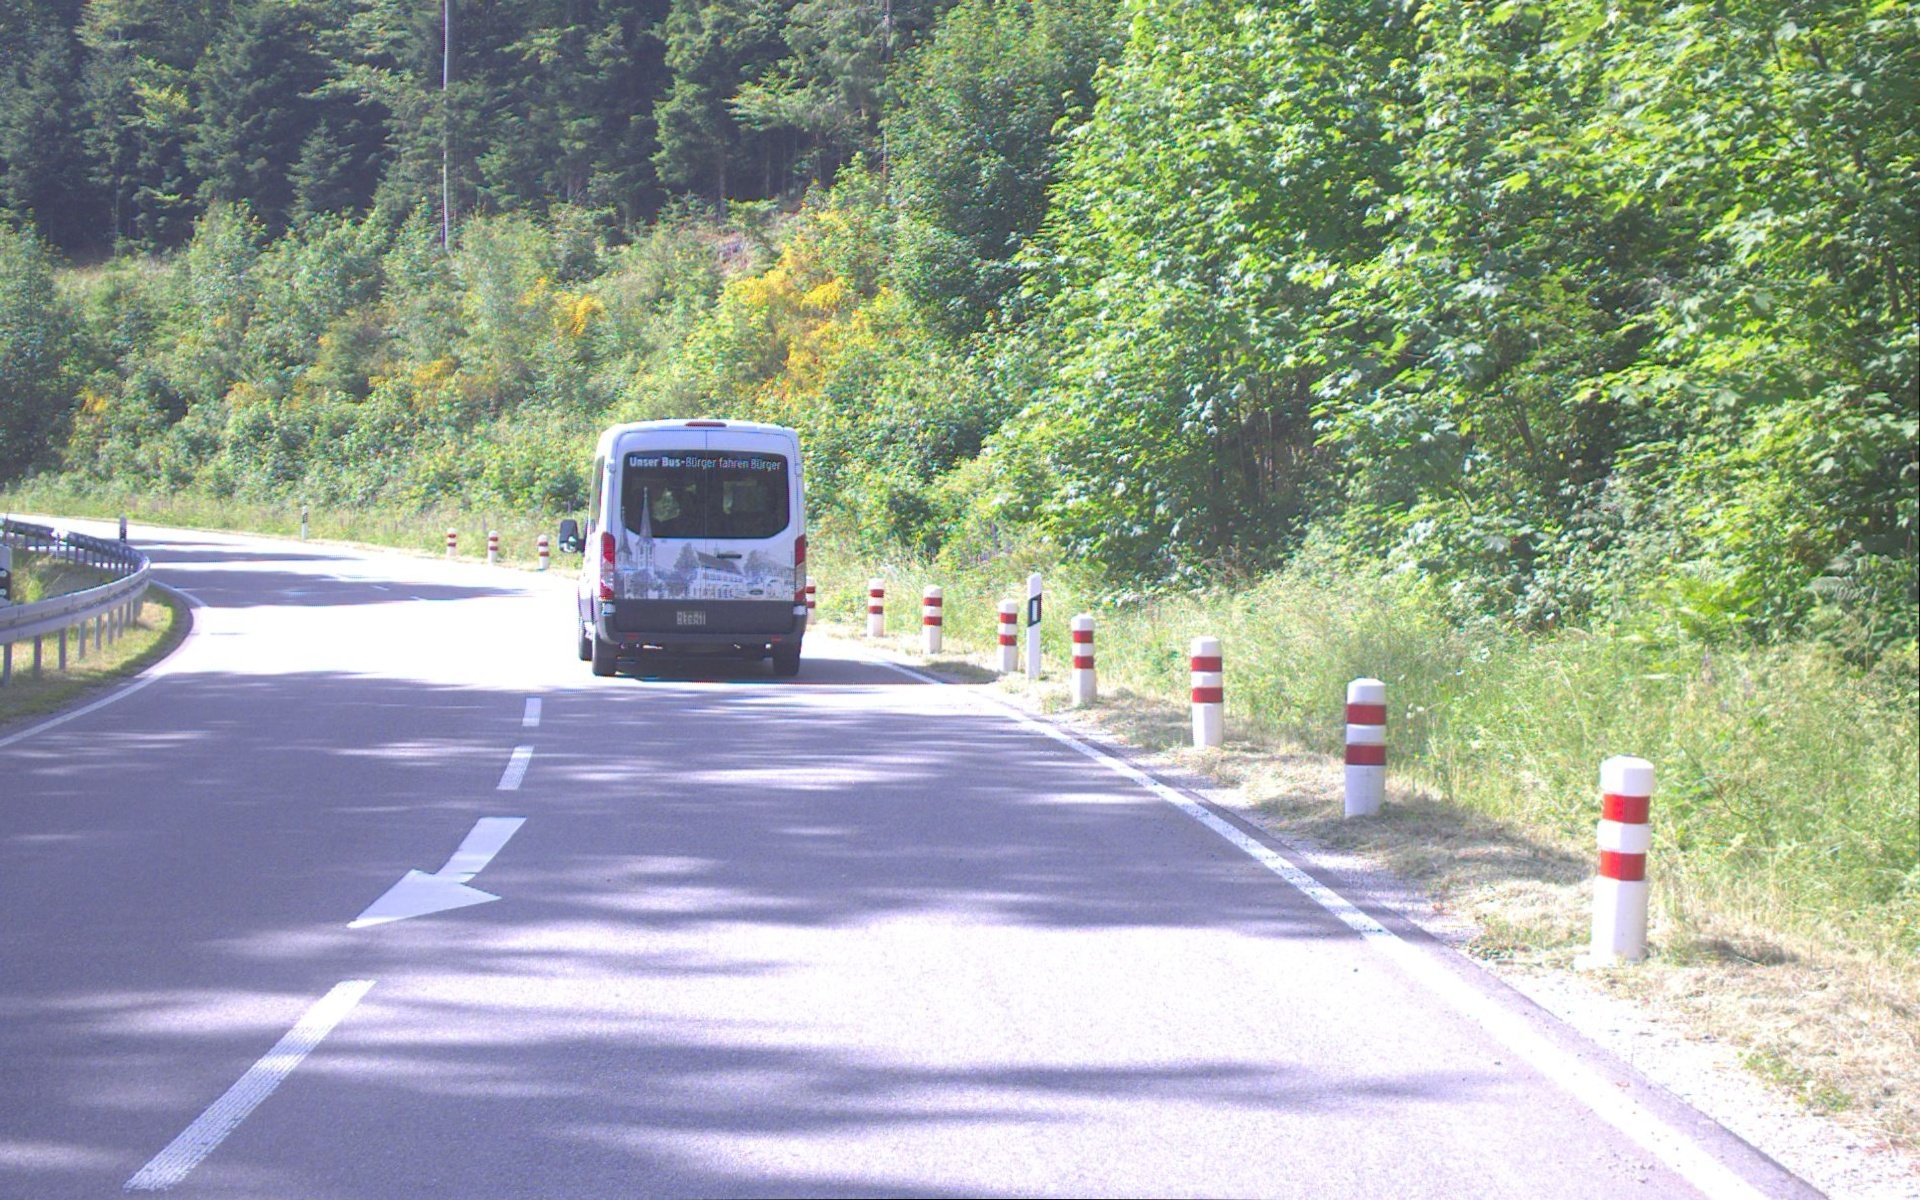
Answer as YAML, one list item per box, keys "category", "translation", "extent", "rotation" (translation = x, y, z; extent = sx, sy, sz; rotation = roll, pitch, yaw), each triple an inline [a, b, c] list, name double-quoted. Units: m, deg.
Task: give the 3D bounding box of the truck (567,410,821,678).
- category: "truck"
  translation: [-2.781, -0.589, 34.761]
  extent: [2.115, 2.489, 5.361]
  rotation: [0, 1, -9]
